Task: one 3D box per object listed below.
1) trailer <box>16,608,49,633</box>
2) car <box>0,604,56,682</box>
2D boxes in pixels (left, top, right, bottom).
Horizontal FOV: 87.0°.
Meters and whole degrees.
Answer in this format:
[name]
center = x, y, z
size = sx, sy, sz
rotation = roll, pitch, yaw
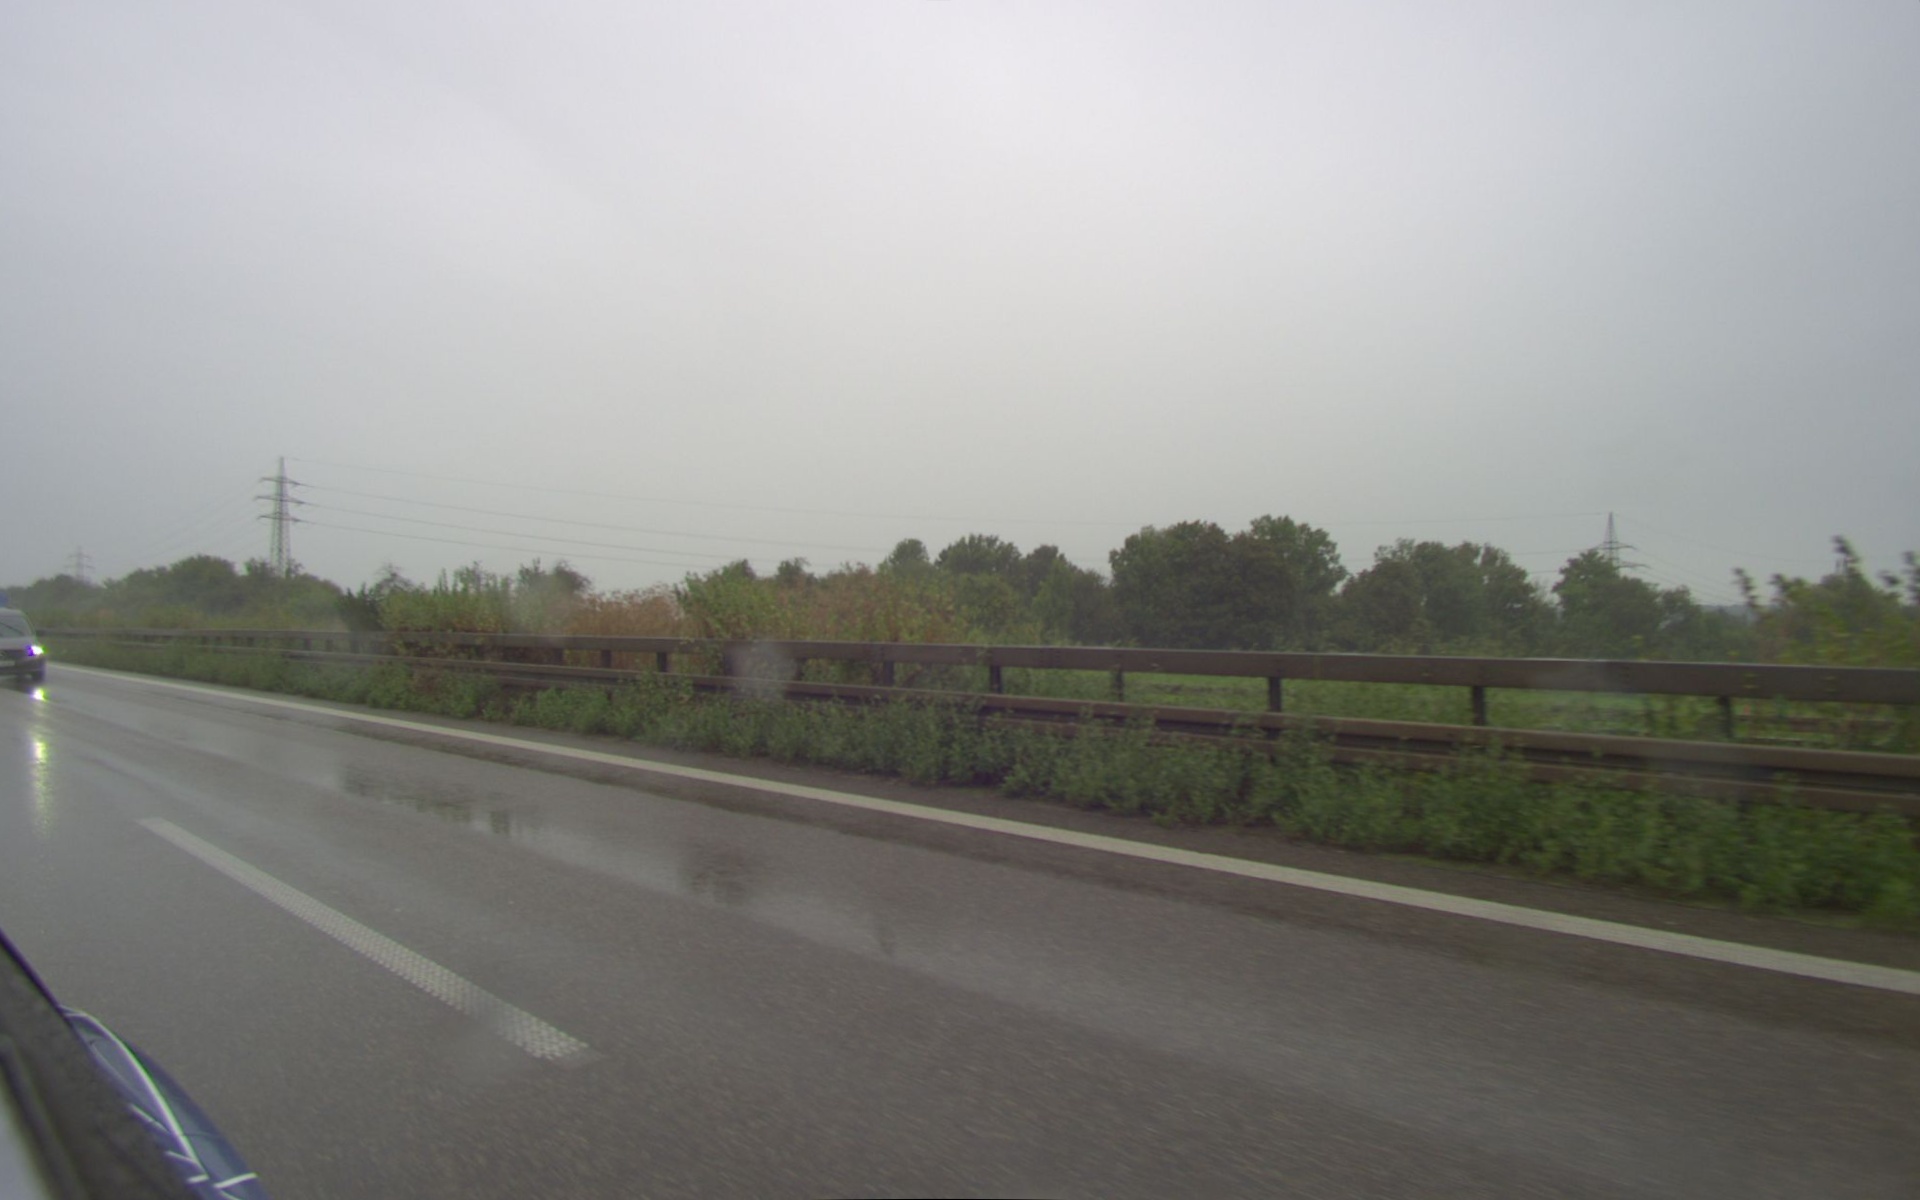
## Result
[trailer]
center = -120.855, 2.645, 131.864
size = 8.261, 3.088, 2.223
rotation = -1, 0, 41
[car]
center = -23.929, 1.029, 24.872
size = 4.498, 1.787, 2.021
rotation = -1, -1, 41
